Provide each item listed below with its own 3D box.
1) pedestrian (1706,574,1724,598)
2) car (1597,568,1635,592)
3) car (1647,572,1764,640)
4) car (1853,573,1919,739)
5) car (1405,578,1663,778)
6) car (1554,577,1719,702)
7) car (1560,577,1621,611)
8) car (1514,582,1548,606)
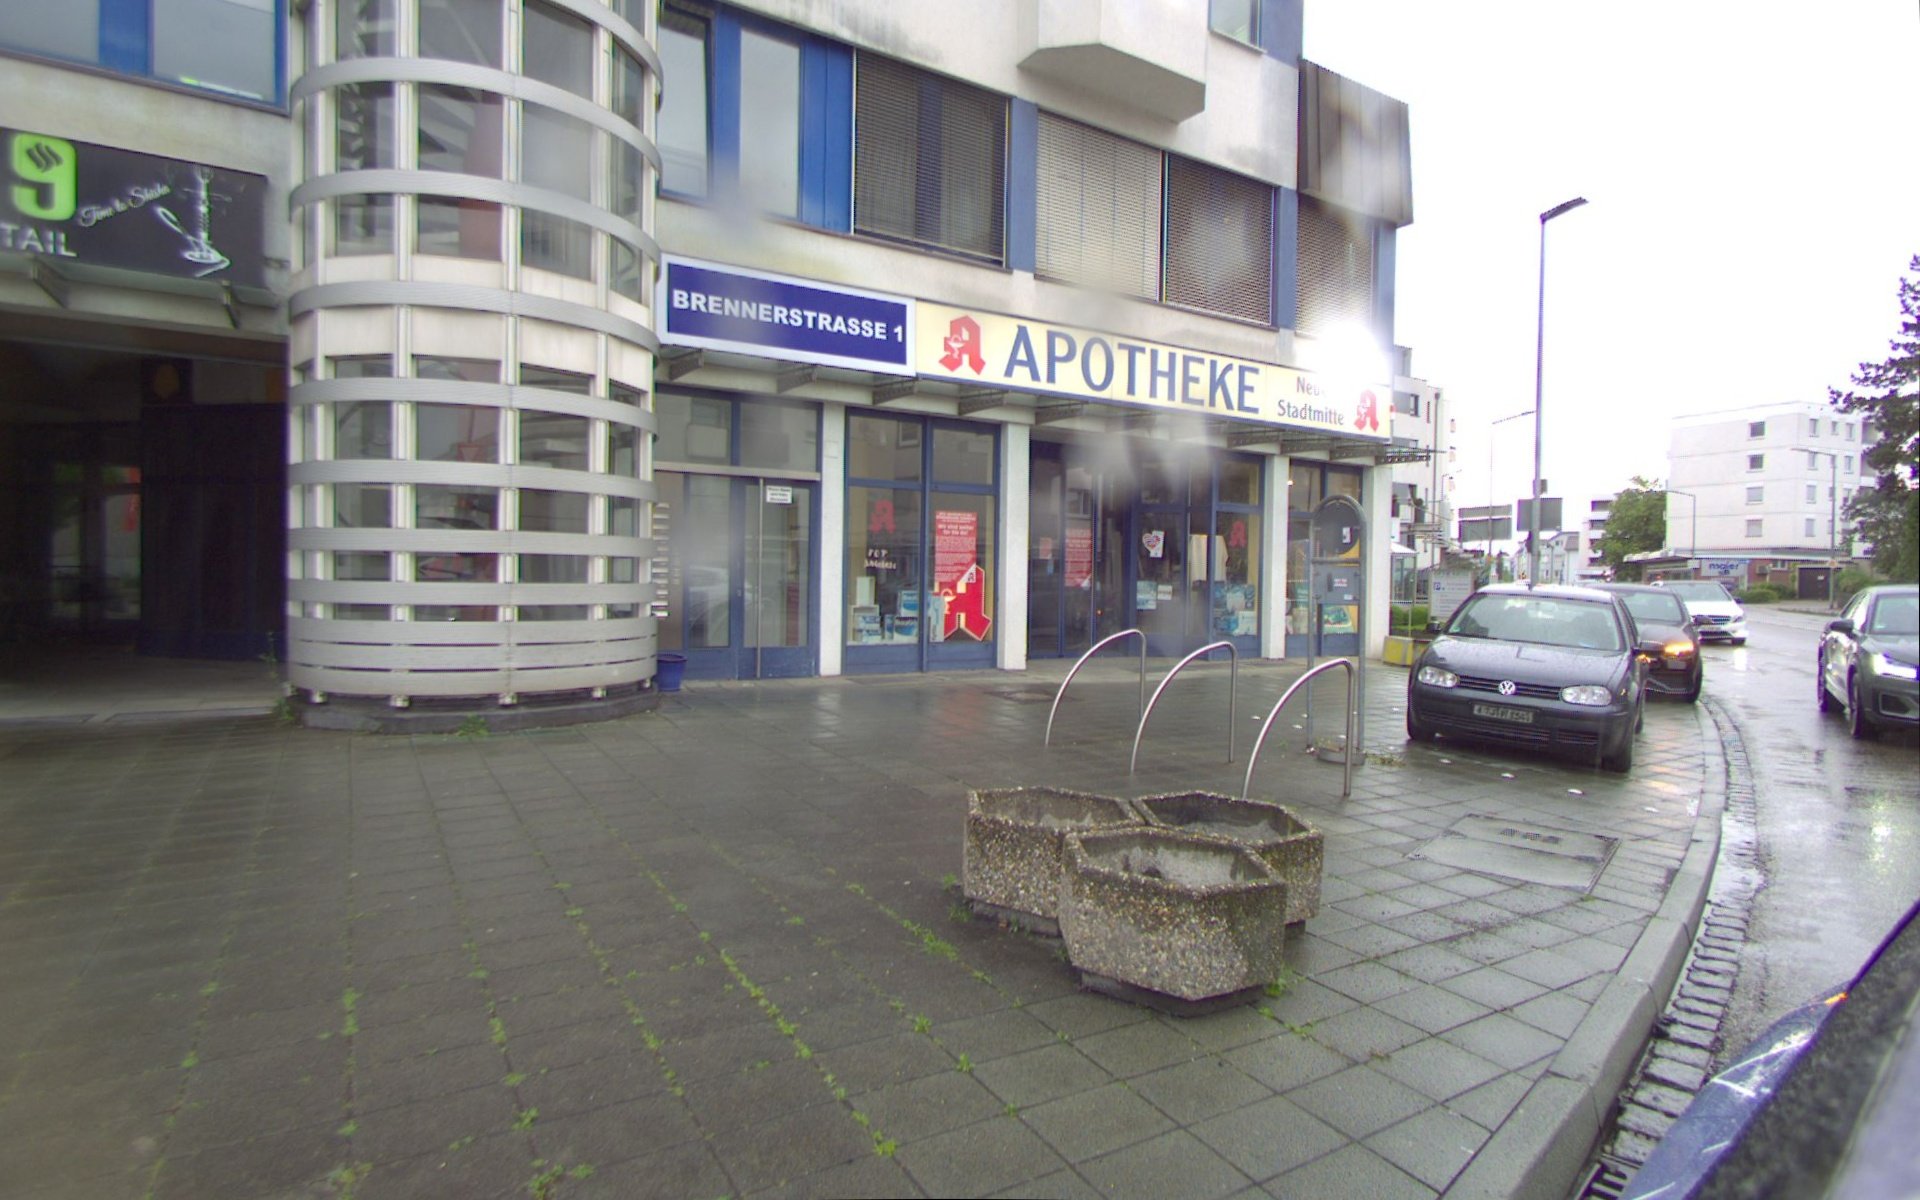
[{"bbox_3d":[57.571,-1.072,77.199,0.845,1.757,0.831,1,2,20],"label":"pedestrian"},{"bbox_3d":[43.206,-1.358,66.716,1.735,1.472,3.778,1,3,28],"label":"car"},{"bbox_3d":[18.740,0.105,25.616,1.718,1.547,4.024,2,1,27],"label":"car"},{"bbox_3d":[10.344,0.478,10.323,1.728,1.462,3.989,1,2,40],"label":"car"},{"bbox_3d":[5.487,0.539,9.451,1.646,1.388,3.683,5,4,36],"label":"car"},{"bbox_3d":[9.420,0.419,14.032,1.650,1.442,3.949,2,2,36],"label":"car"},{"bbox_3d":[28.355,-0.312,45.602,1.783,1.385,3.941,1,3,25],"label":"car"},{"bbox_3d":[40.769,-0.444,72.285,1.981,1.635,3.961,-1,1,28],"label":"car"}]
